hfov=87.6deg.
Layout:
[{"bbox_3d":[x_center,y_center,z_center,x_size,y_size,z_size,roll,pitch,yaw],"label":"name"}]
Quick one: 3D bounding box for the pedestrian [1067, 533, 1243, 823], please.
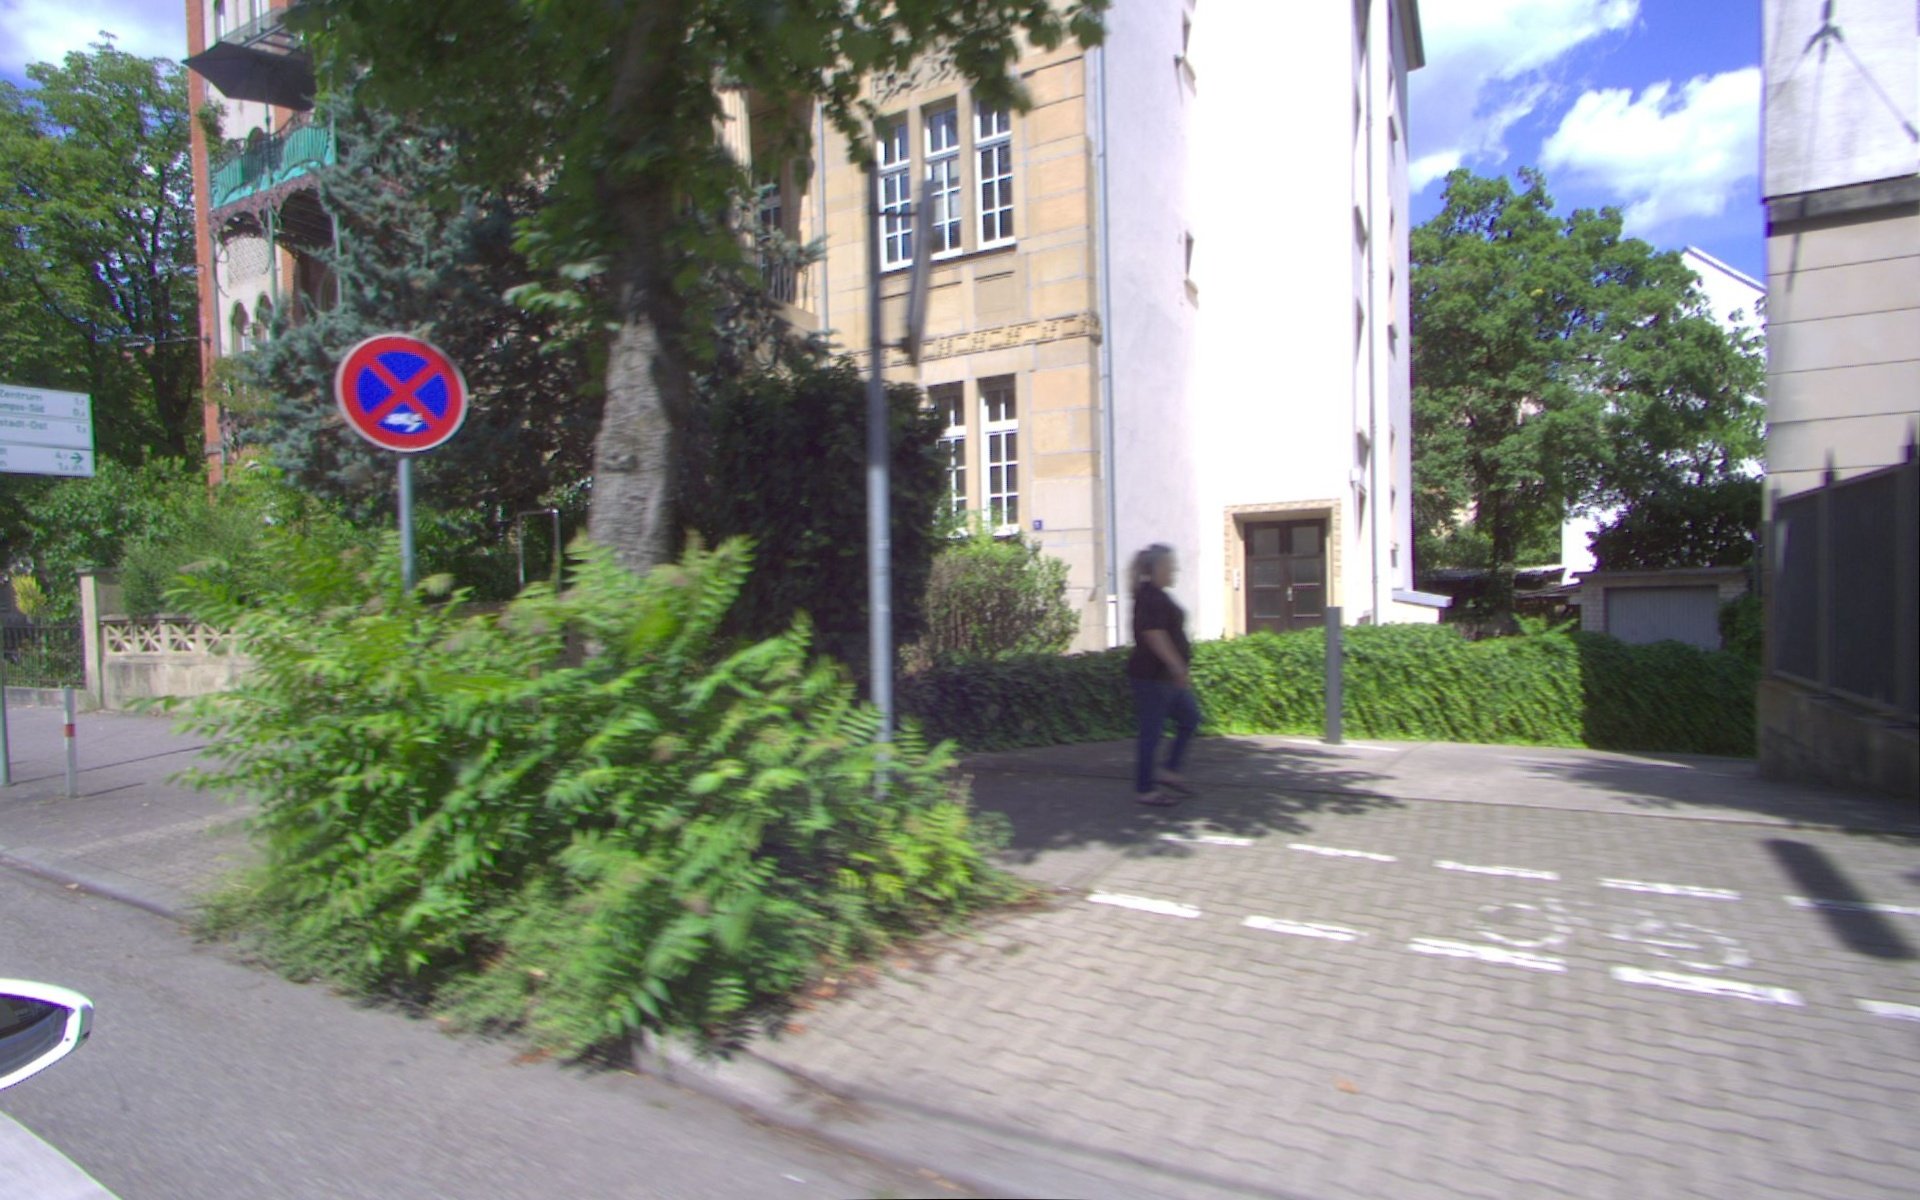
[{"bbox_3d":[1.247,0.449,6.326,0.824,1.668,0.855,-1,2,31],"label":"pedestrian"}]
